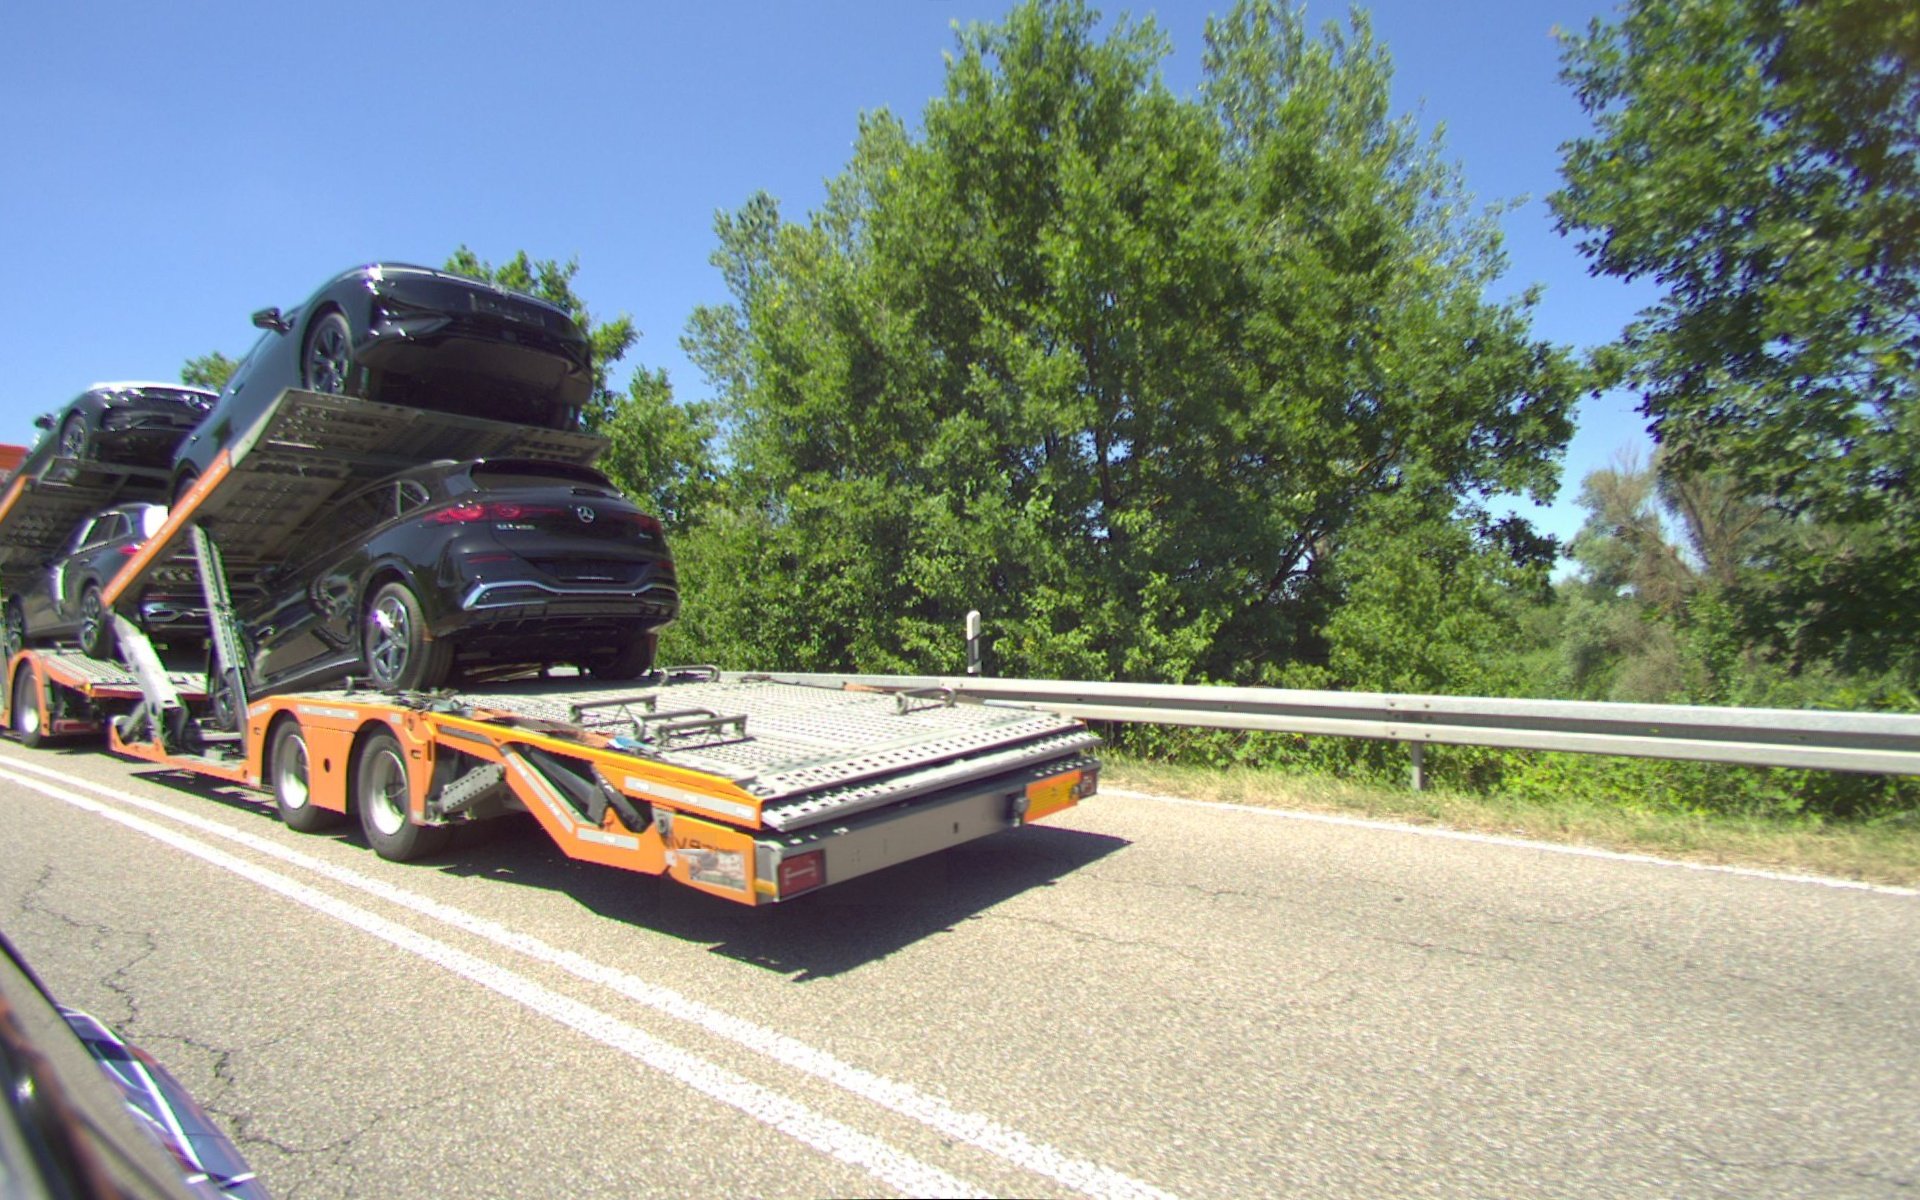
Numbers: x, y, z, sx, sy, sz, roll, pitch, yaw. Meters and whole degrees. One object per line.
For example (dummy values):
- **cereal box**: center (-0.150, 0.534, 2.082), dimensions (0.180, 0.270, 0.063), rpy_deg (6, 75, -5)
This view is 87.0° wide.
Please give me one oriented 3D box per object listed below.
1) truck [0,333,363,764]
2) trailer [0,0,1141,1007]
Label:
- **truck**: center (-11.172, -0.420, 12.859), dimensions (8.757, 3.928, 2.766), rpy_deg (-1, -1, 35)
- **trailer**: center (-5.387, -0.534, 8.725), dimensions (13.964, 3.928, 2.767), rpy_deg (-1, -1, 38)
